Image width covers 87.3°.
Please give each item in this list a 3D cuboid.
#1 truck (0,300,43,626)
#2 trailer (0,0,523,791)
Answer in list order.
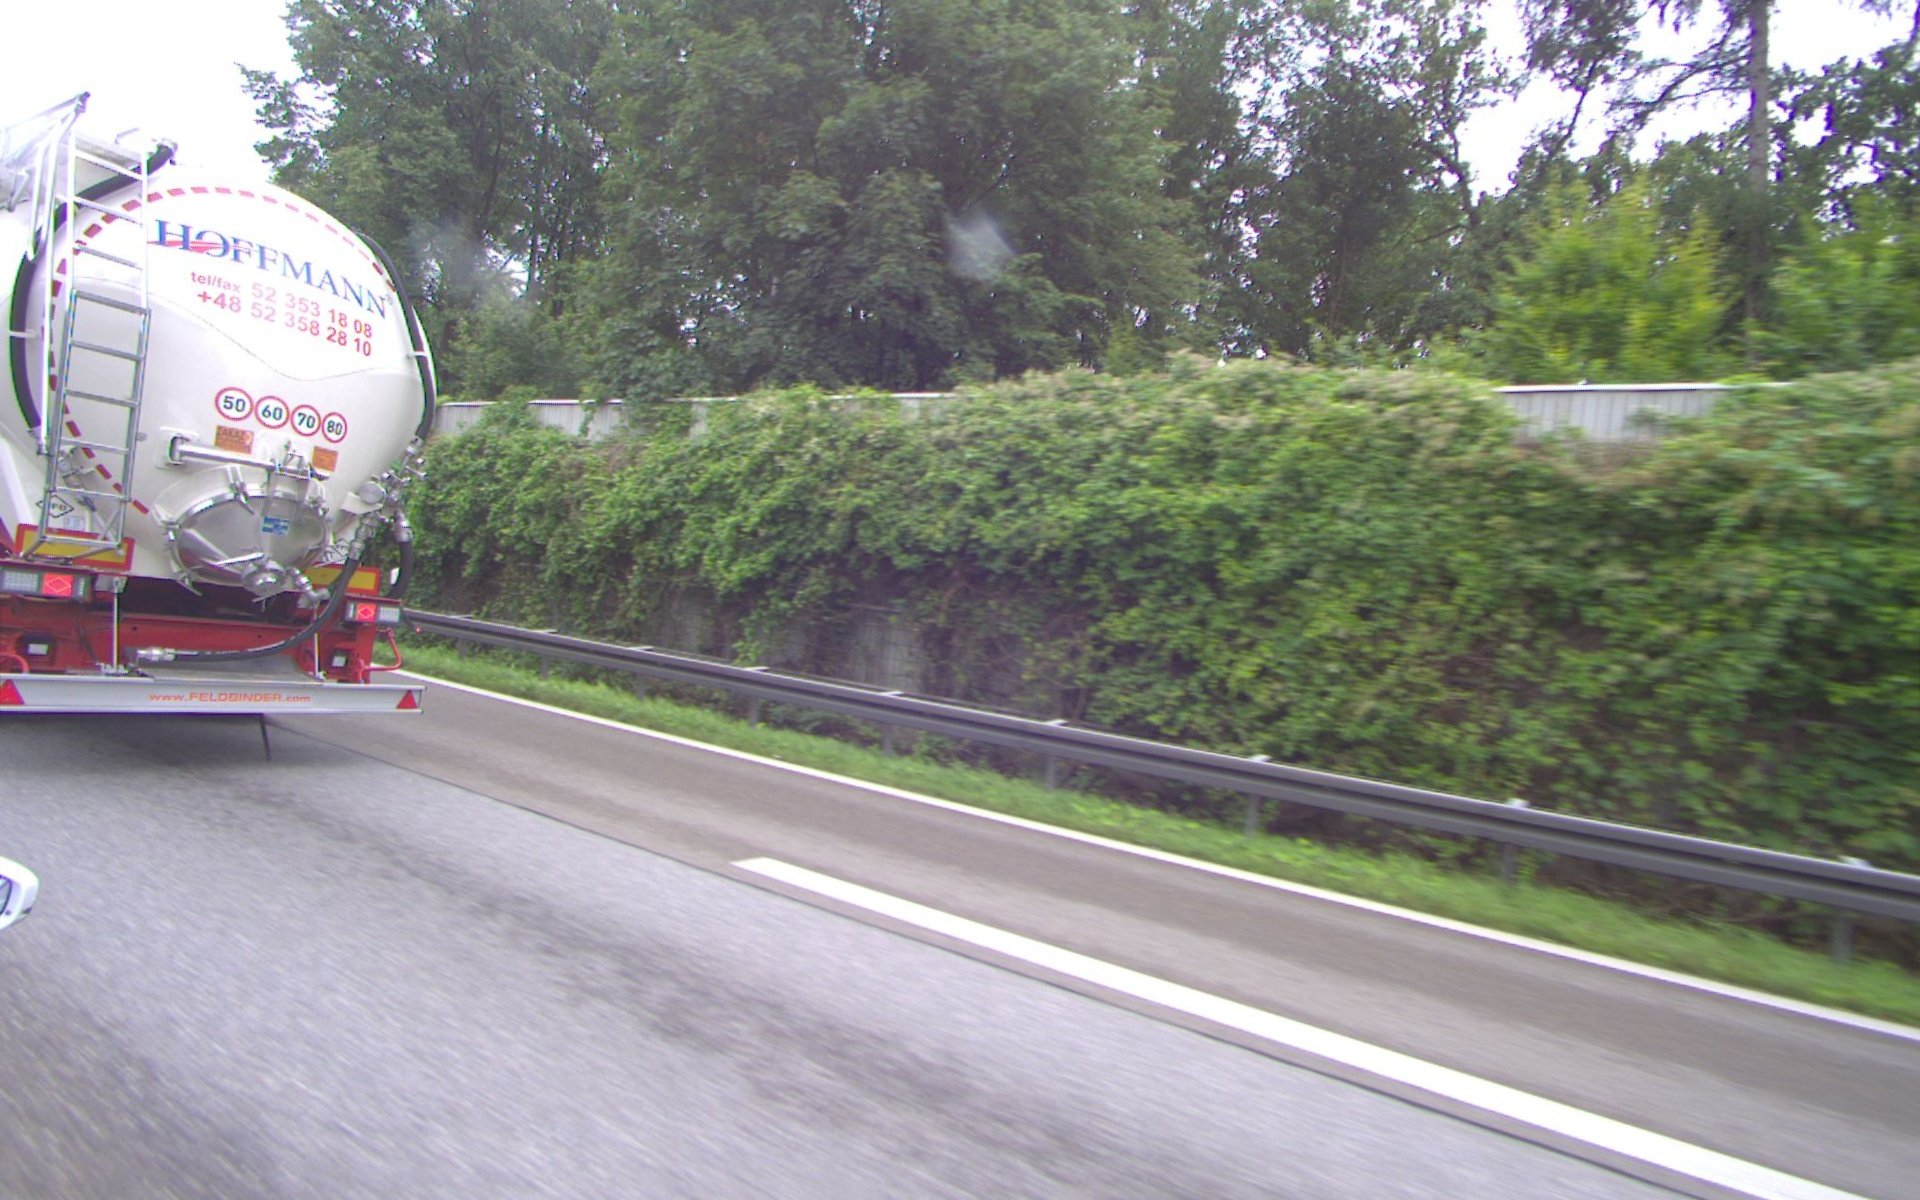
[{"bbox_3d":[-15.132,-2.036,13.106,6.447,3.959,2.700,6,-1,31],"label":"truck"},{"bbox_3d":[-9.483,-1.477,9.511,12.914,3.986,2.672,6,-1,32],"label":"trailer"}]
